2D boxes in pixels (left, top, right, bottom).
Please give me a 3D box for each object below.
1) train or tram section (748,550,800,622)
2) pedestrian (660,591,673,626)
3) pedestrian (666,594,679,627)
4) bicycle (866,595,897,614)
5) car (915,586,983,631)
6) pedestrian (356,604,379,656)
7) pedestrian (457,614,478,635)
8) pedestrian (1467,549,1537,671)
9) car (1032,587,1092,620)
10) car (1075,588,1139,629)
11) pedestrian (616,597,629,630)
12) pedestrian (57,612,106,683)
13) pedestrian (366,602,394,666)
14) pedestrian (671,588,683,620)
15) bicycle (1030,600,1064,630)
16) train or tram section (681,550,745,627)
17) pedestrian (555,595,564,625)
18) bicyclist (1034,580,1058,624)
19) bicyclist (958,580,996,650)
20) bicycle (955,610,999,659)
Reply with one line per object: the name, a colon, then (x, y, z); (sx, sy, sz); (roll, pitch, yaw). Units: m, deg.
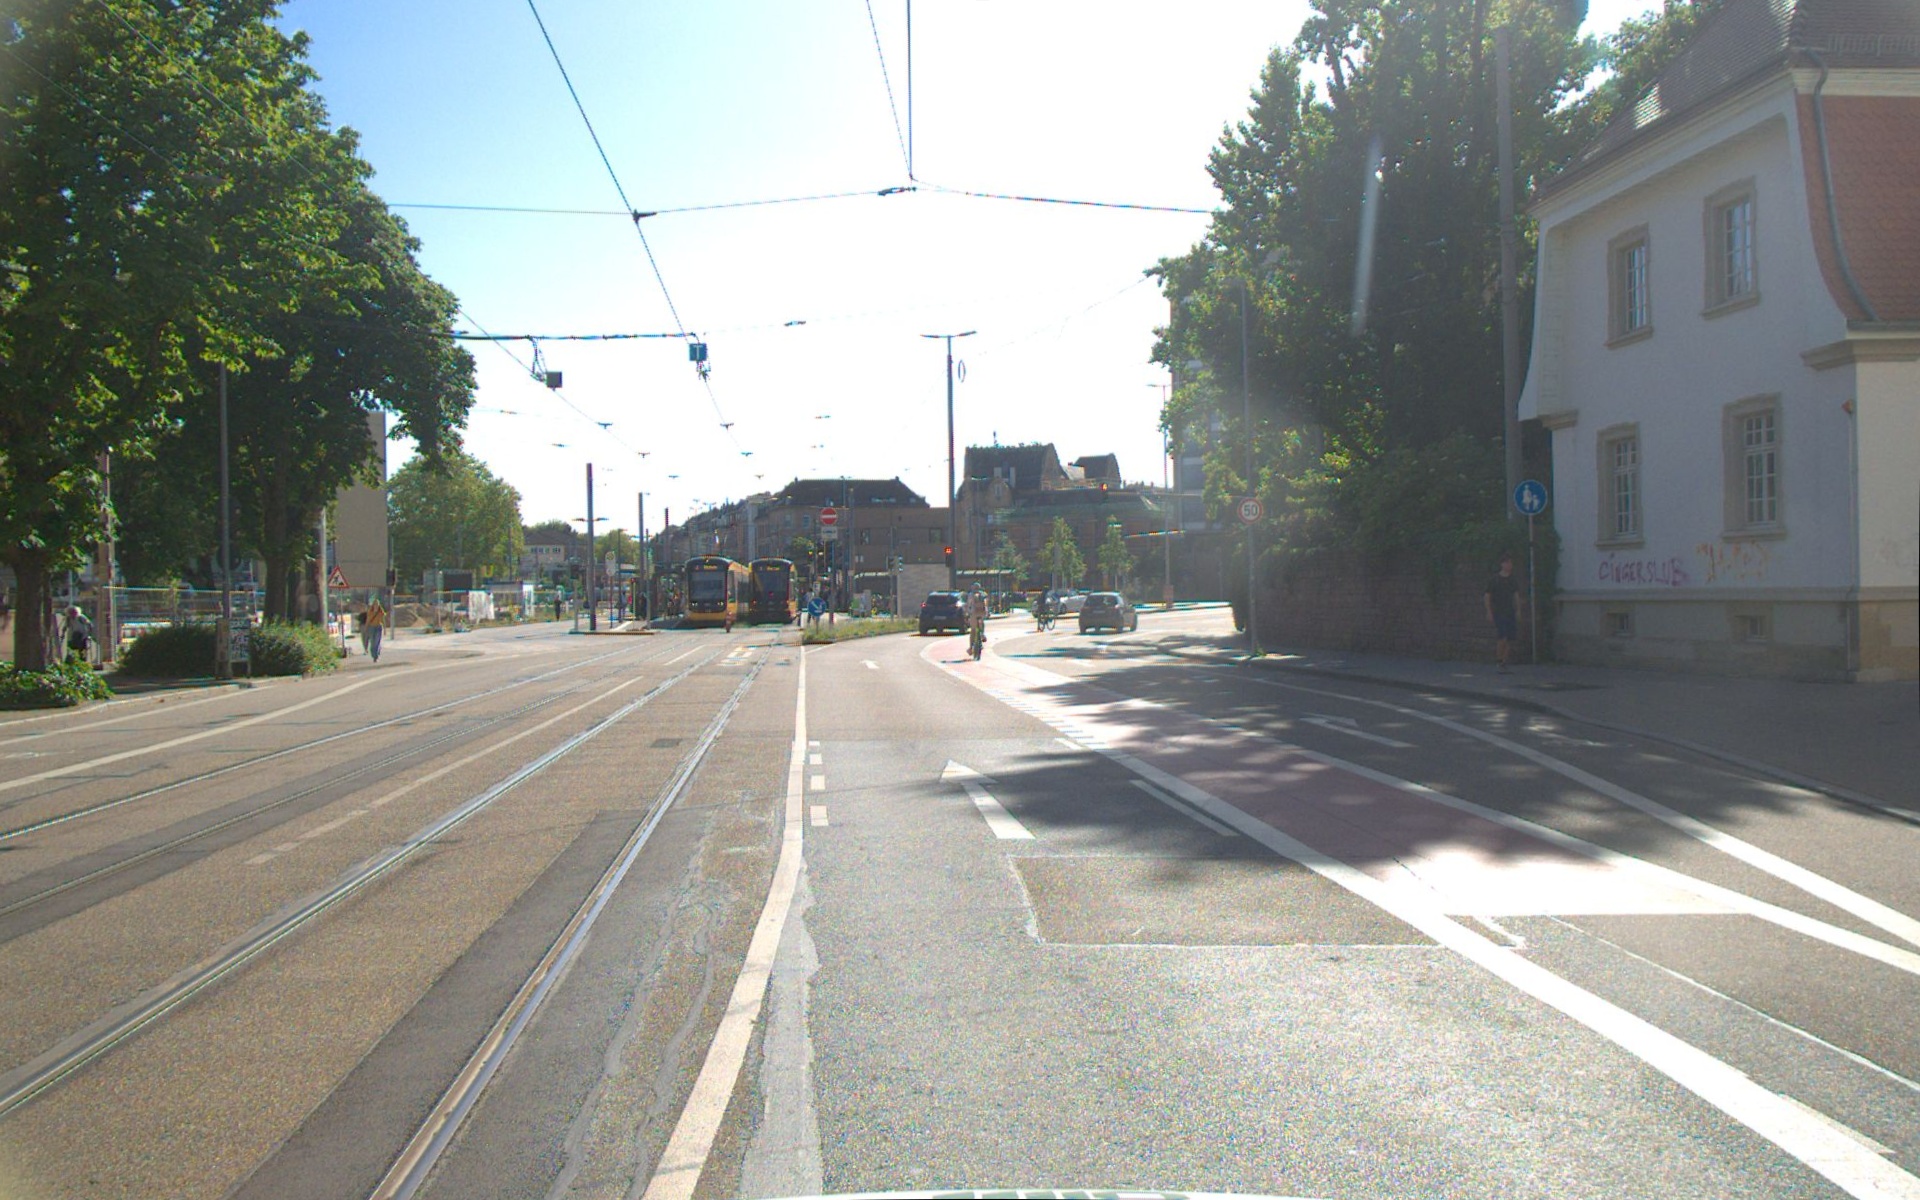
train or tram section: (-10.524, -0.816, 93.993); (2.689, 3.715, 13.768); (-1, 1, -6)
pedestrian: (-15.815, 0.478, 89.056); (0.614, 1.859, 0.661); (-1, 0, -7)
pedestrian: (-16.413, 0.572, 94.468); (0.614, 1.859, 0.661); (-1, 0, -7)
bicycle: (-4.961, 0.275, 104.963); (1.897, 1.122, 0.598); (-1, 1, -8)
car: (-0.382, 0.294, 62.449); (1.751, 1.632, 3.716); (0, 1, 13)
pedestrian: (-19.804, 1.003, 55.297); (0.611, 1.726, 0.673); (-1, 0, -27)
pedestrian: (-25.165, 1.256, 84.583); (0.880, 1.064, 0.655); (-1, 0, -5)
pedestrian: (9.008, 0.157, 27.510); (0.625, 1.936, 1.133); (-4, 0, -4)
car: (5.295, 0.157, 85.535); (1.669, 1.672, 3.706); (0, 1, 29)
car: (5.757, 0.308, 64.288); (1.751, 1.537, 3.715); (0, 1, 17)
pedestrian: (-19.024, 0.747, 93.331); (0.614, 1.859, 0.661); (-1, 0, -7)
pedestrian: (-19.404, 1.033, 36.537); (0.910, 1.530, 0.699); (-1, 0, -28)
pedestrian: (-16.119, 0.933, 45.978); (0.626, 1.726, 0.815); (-3, 0, -18)
pedestrian: (-17.000, 0.228, 99.237); (0.614, 1.859, 0.661); (-1, 0, -7)
bicycle: (3.453, 0.582, 65.435); (0.690, 1.073, 2.314); (1, 1, 19)
train or tram section: (-12.987, -0.635, 87.930); (2.689, 3.715, 13.768); (-1, 1, -6)
pedestrian: (-28.021, 0.690, 115.710); (0.514, 2.049, 0.522); (-1, 0, -1)
bicyclist: (3.396, 0.075, 65.237); (0.690, 1.730, 0.987); (1, 1, 19)
bicyclist: (0.420, 0.355, 40.592); (0.690, 1.704, 1.102); (0, 1, 14)
bicycle: (0.427, 0.833, 40.636); (0.690, 1.124, 1.718); (0, 1, 14)
